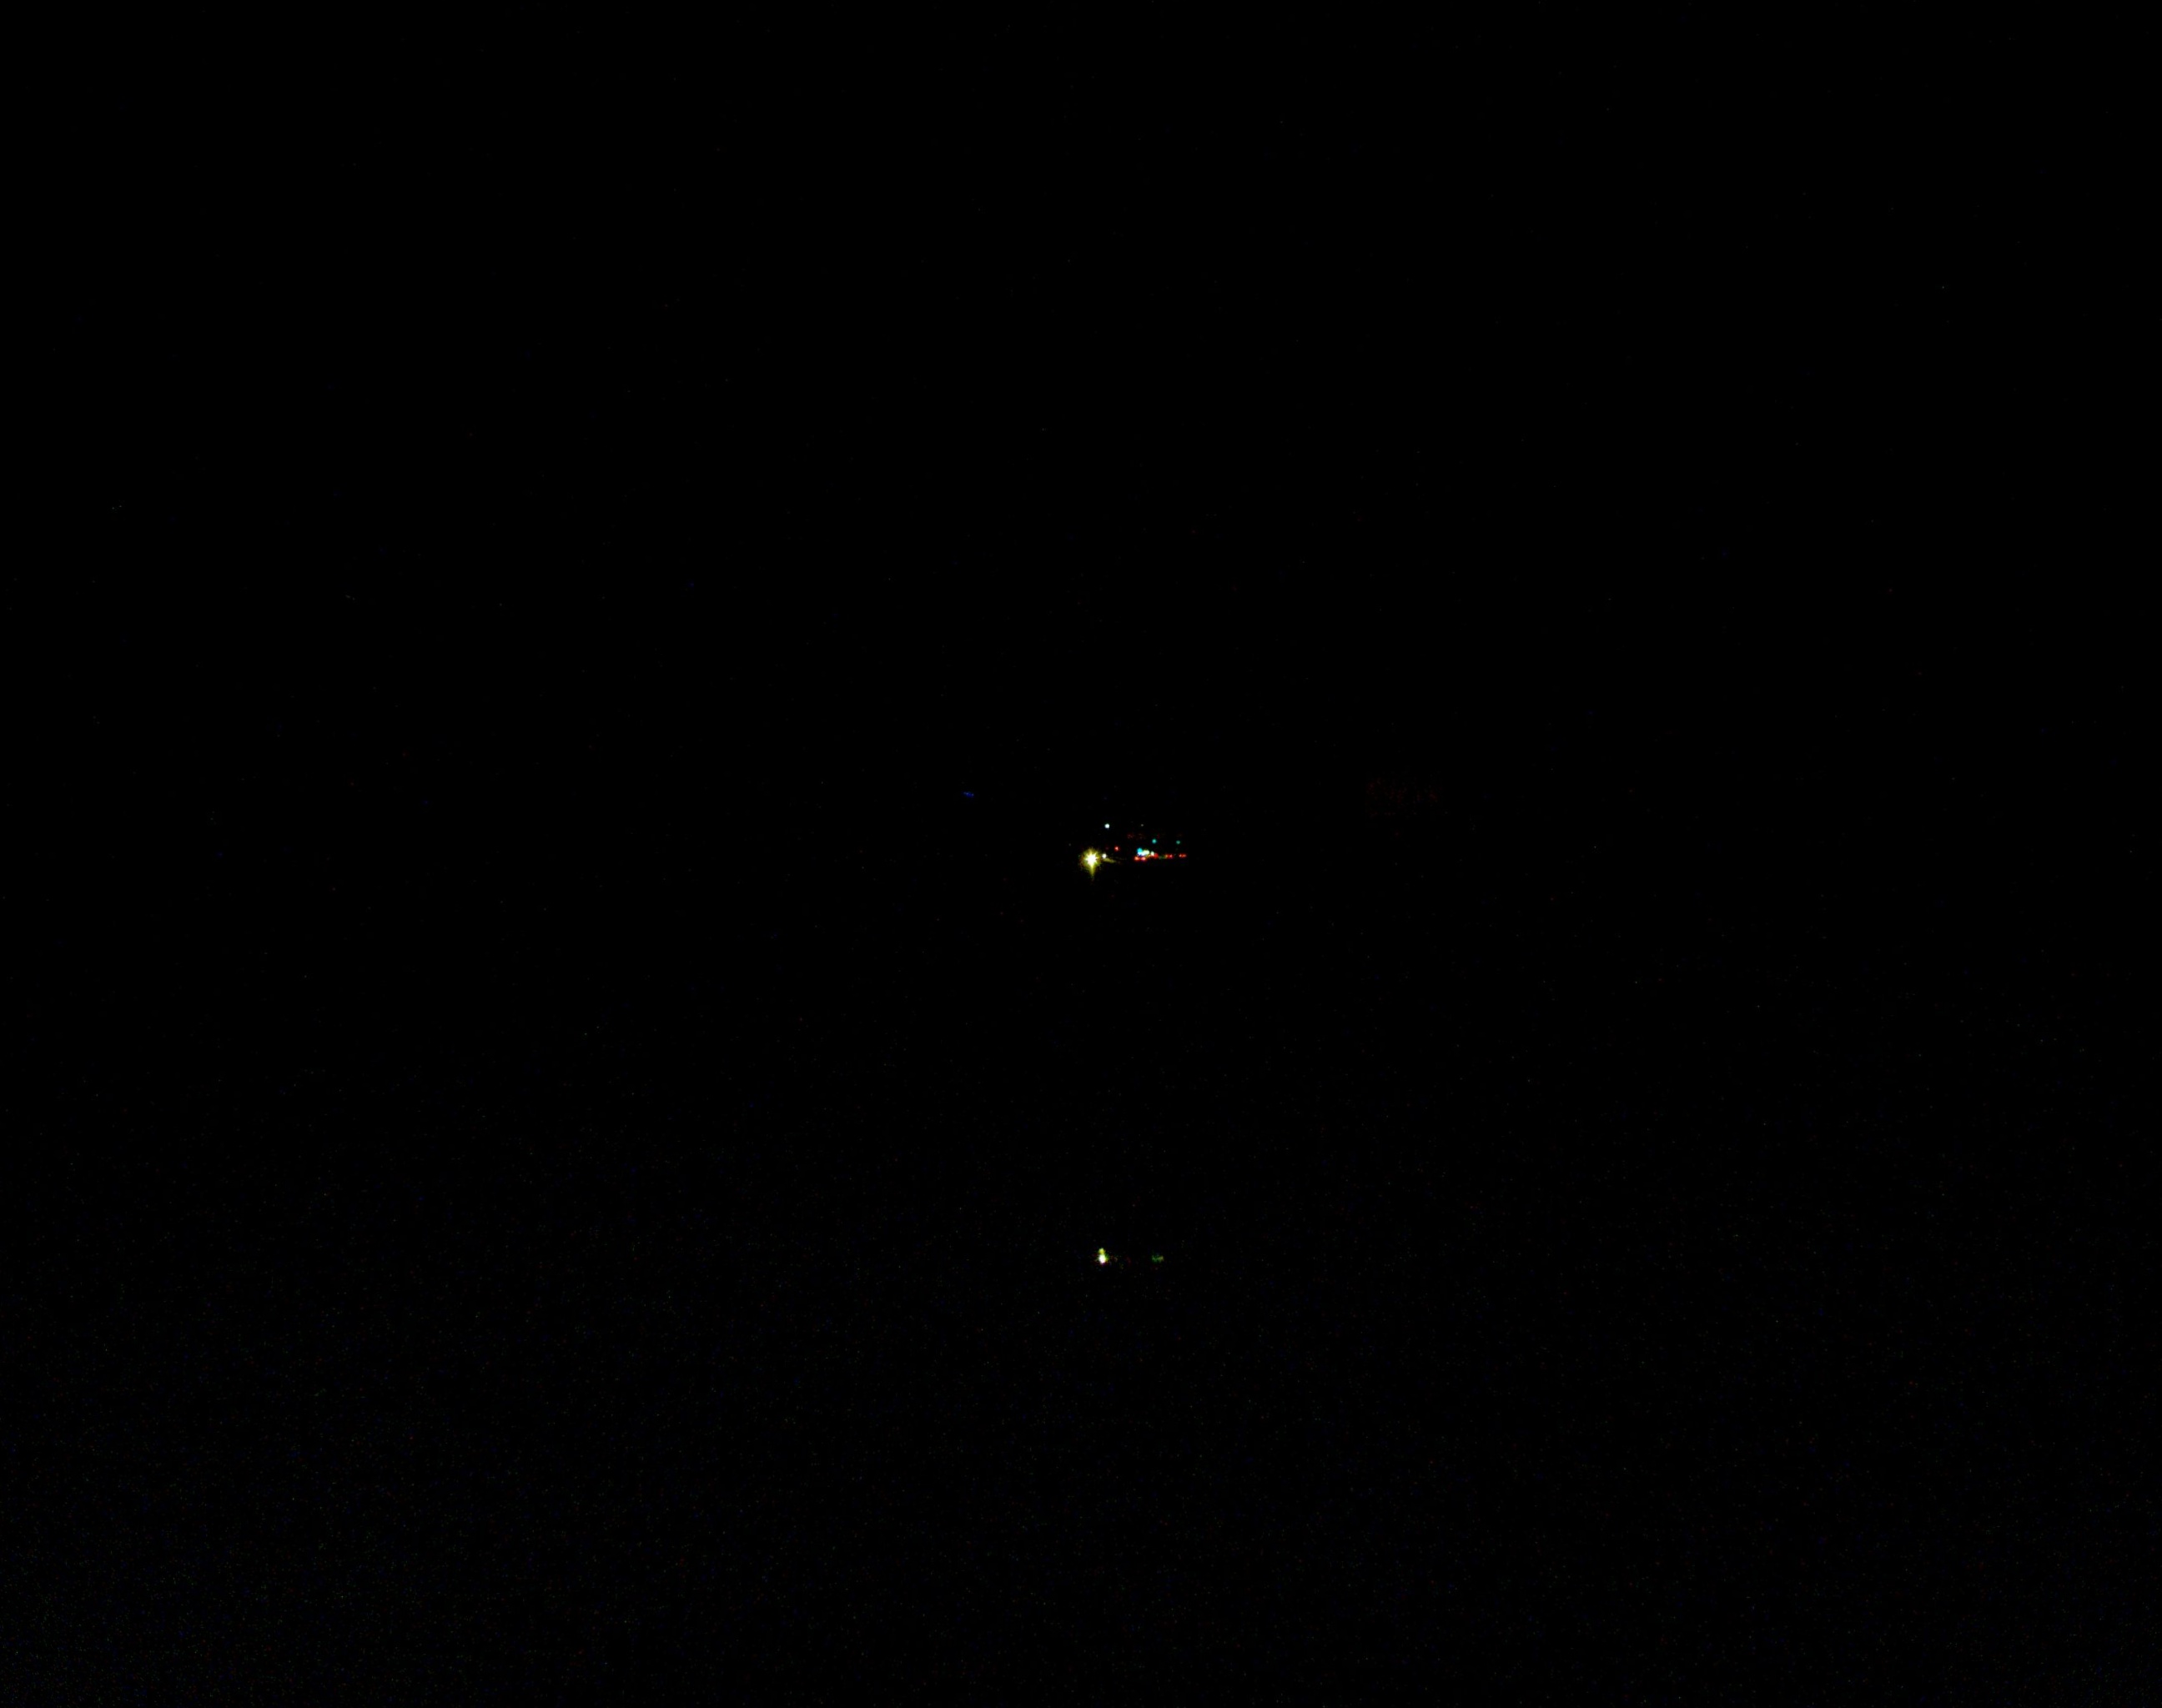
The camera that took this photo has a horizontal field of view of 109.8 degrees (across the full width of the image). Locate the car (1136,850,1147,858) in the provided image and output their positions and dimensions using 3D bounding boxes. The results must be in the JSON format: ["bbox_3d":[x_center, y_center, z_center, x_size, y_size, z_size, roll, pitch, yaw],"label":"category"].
[{"bbox_3d":[11.299,-0.006,141.601,1.724,1.399,4.574,-2,1,1],"label":"car"}]

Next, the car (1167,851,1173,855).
[{"bbox_3d":[30.190,-0.341,257.685,1.723,1.439,4.384,-2,1,12],"label":"car"}]

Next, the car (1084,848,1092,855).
[{"bbox_3d":[1.458,-0.435,150.876,1.570,1.336,4.166,-2,0,1],"label":"car"}]
